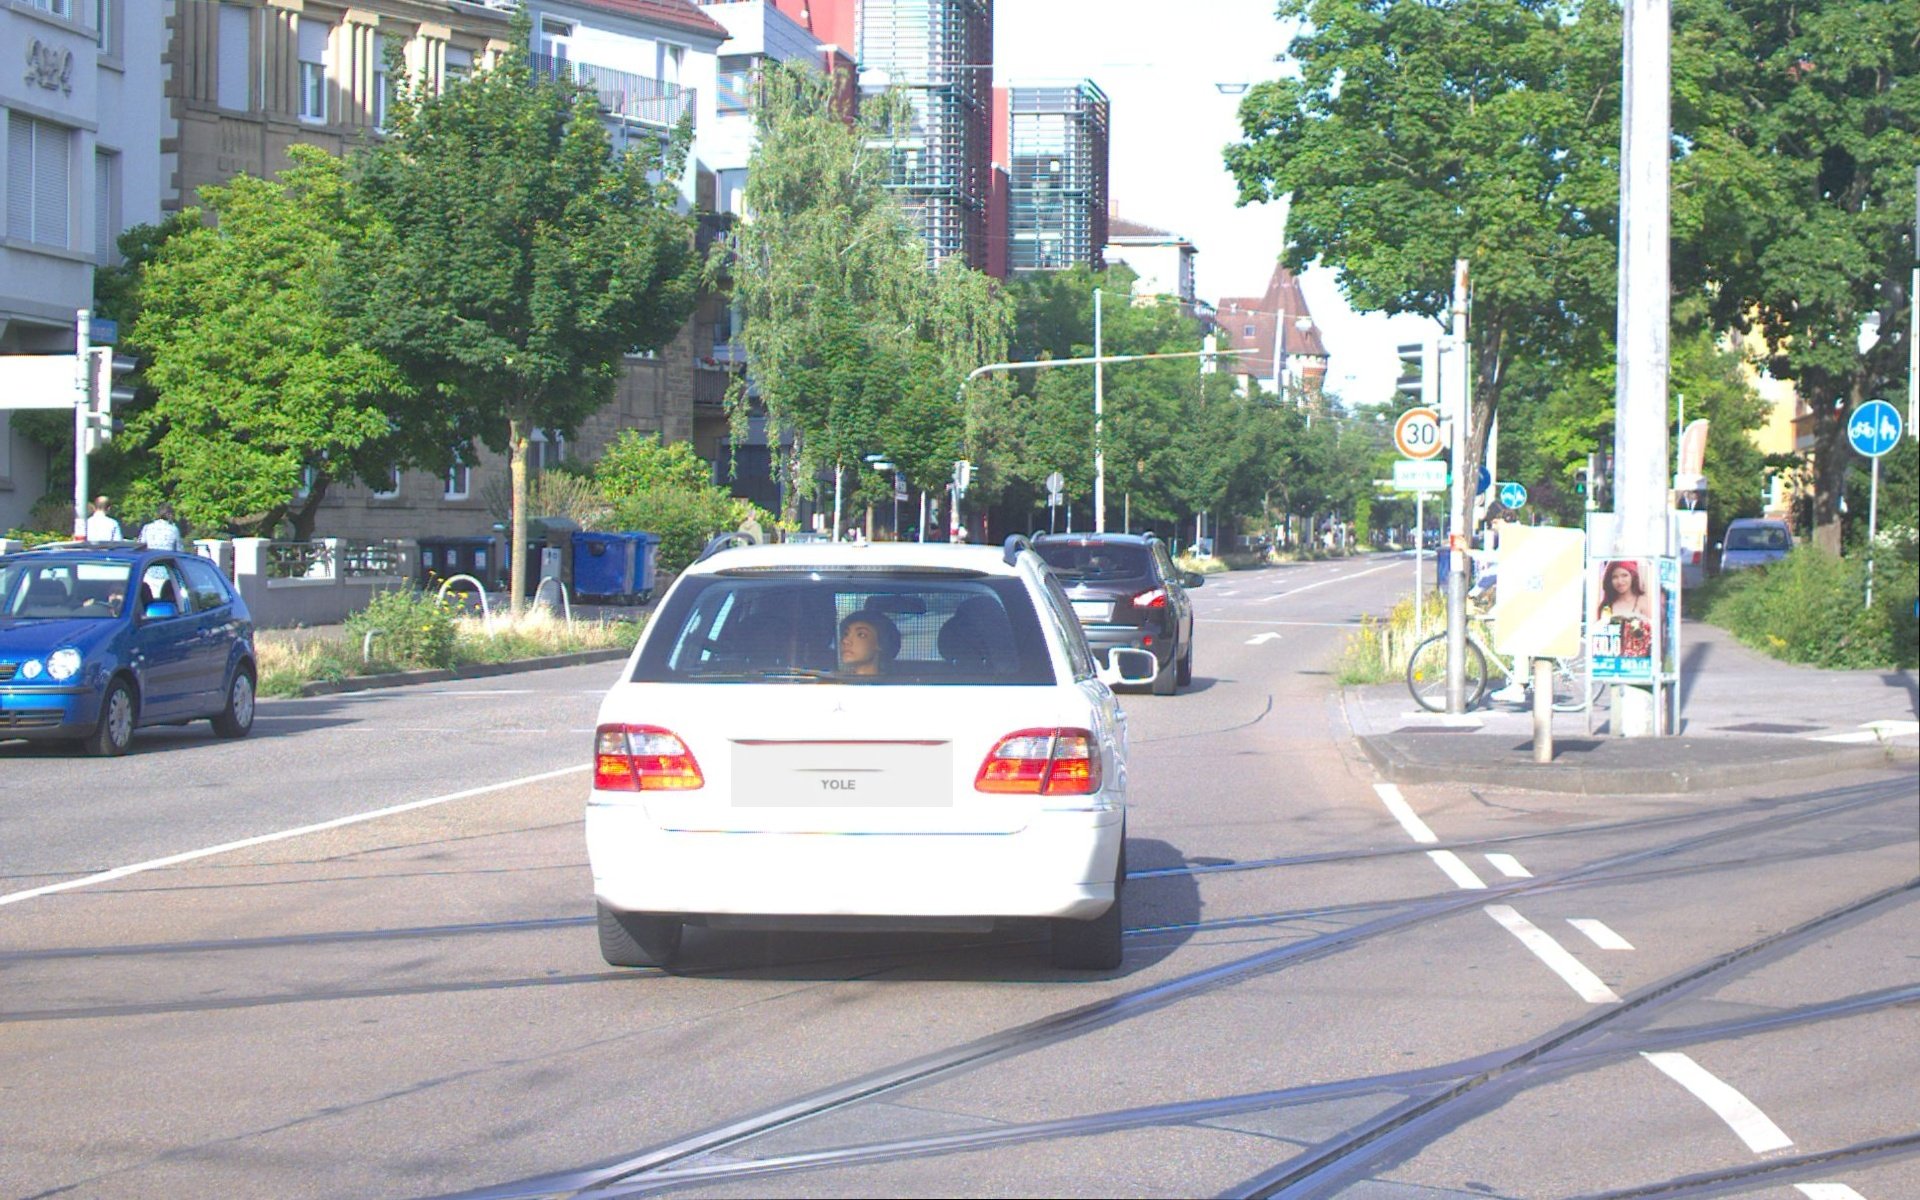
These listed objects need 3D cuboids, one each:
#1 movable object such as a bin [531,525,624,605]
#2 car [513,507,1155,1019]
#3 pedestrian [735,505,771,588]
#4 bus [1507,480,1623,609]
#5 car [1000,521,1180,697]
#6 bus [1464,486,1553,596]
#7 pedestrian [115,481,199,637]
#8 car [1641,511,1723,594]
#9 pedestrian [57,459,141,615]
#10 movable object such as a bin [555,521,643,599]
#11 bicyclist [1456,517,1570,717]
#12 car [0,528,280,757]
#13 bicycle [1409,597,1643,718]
[{"bbox_3d":[-6.899,-0.640,62.045,1.602,1.416,1.085,1,1,-3],"label":"movable object such as a bin"},{"bbox_3d":[-0.291,0.459,12.545,1.835,1.496,3.815,3,1,5],"label":"car"},{"bbox_3d":[-4.401,-1.141,73.122,0.638,1.745,0.607,1,1,7],"label":"pedestrian"},{"bbox_3d":[12.091,-1.105,68.923,1.798,2.404,3.999,3,1,5],"label":"bus"},{"bbox_3d":[1.353,0.043,34.575,1.642,1.594,3.815,3,1,3],"label":"car"},{"bbox_3d":[13.471,-1.431,84.608,1.798,2.546,3.999,3,1,6],"label":"bus"},{"bbox_3d":[-9.108,-0.471,39.009,0.638,1.745,0.911,1,1,7],"label":"pedestrian"},{"bbox_3d":[16.957,-1.126,80.853,1.747,1.867,3.998,1,1,11],"label":"car"},{"bbox_3d":[-9.801,-0.720,39.136,0.638,1.745,0.911,1,1,7],"label":"pedestrian"},{"bbox_3d":[-6.628,-0.741,63.182,1.533,1.416,1.085,1,1,-3],"label":"movable object such as a bin"},{"bbox_3d":[4.751,0.134,29.585,0.899,1.693,0.732,0,1,4],"label":"bicyclist"},{"bbox_3d":[-6.316,0.235,24.495,1.689,1.436,3.999,1,2,7],"label":"car"},{"bbox_3d":[4.857,0.491,29.589,1.914,0.991,0.727,-1,1,4],"label":"bicycle"}]
